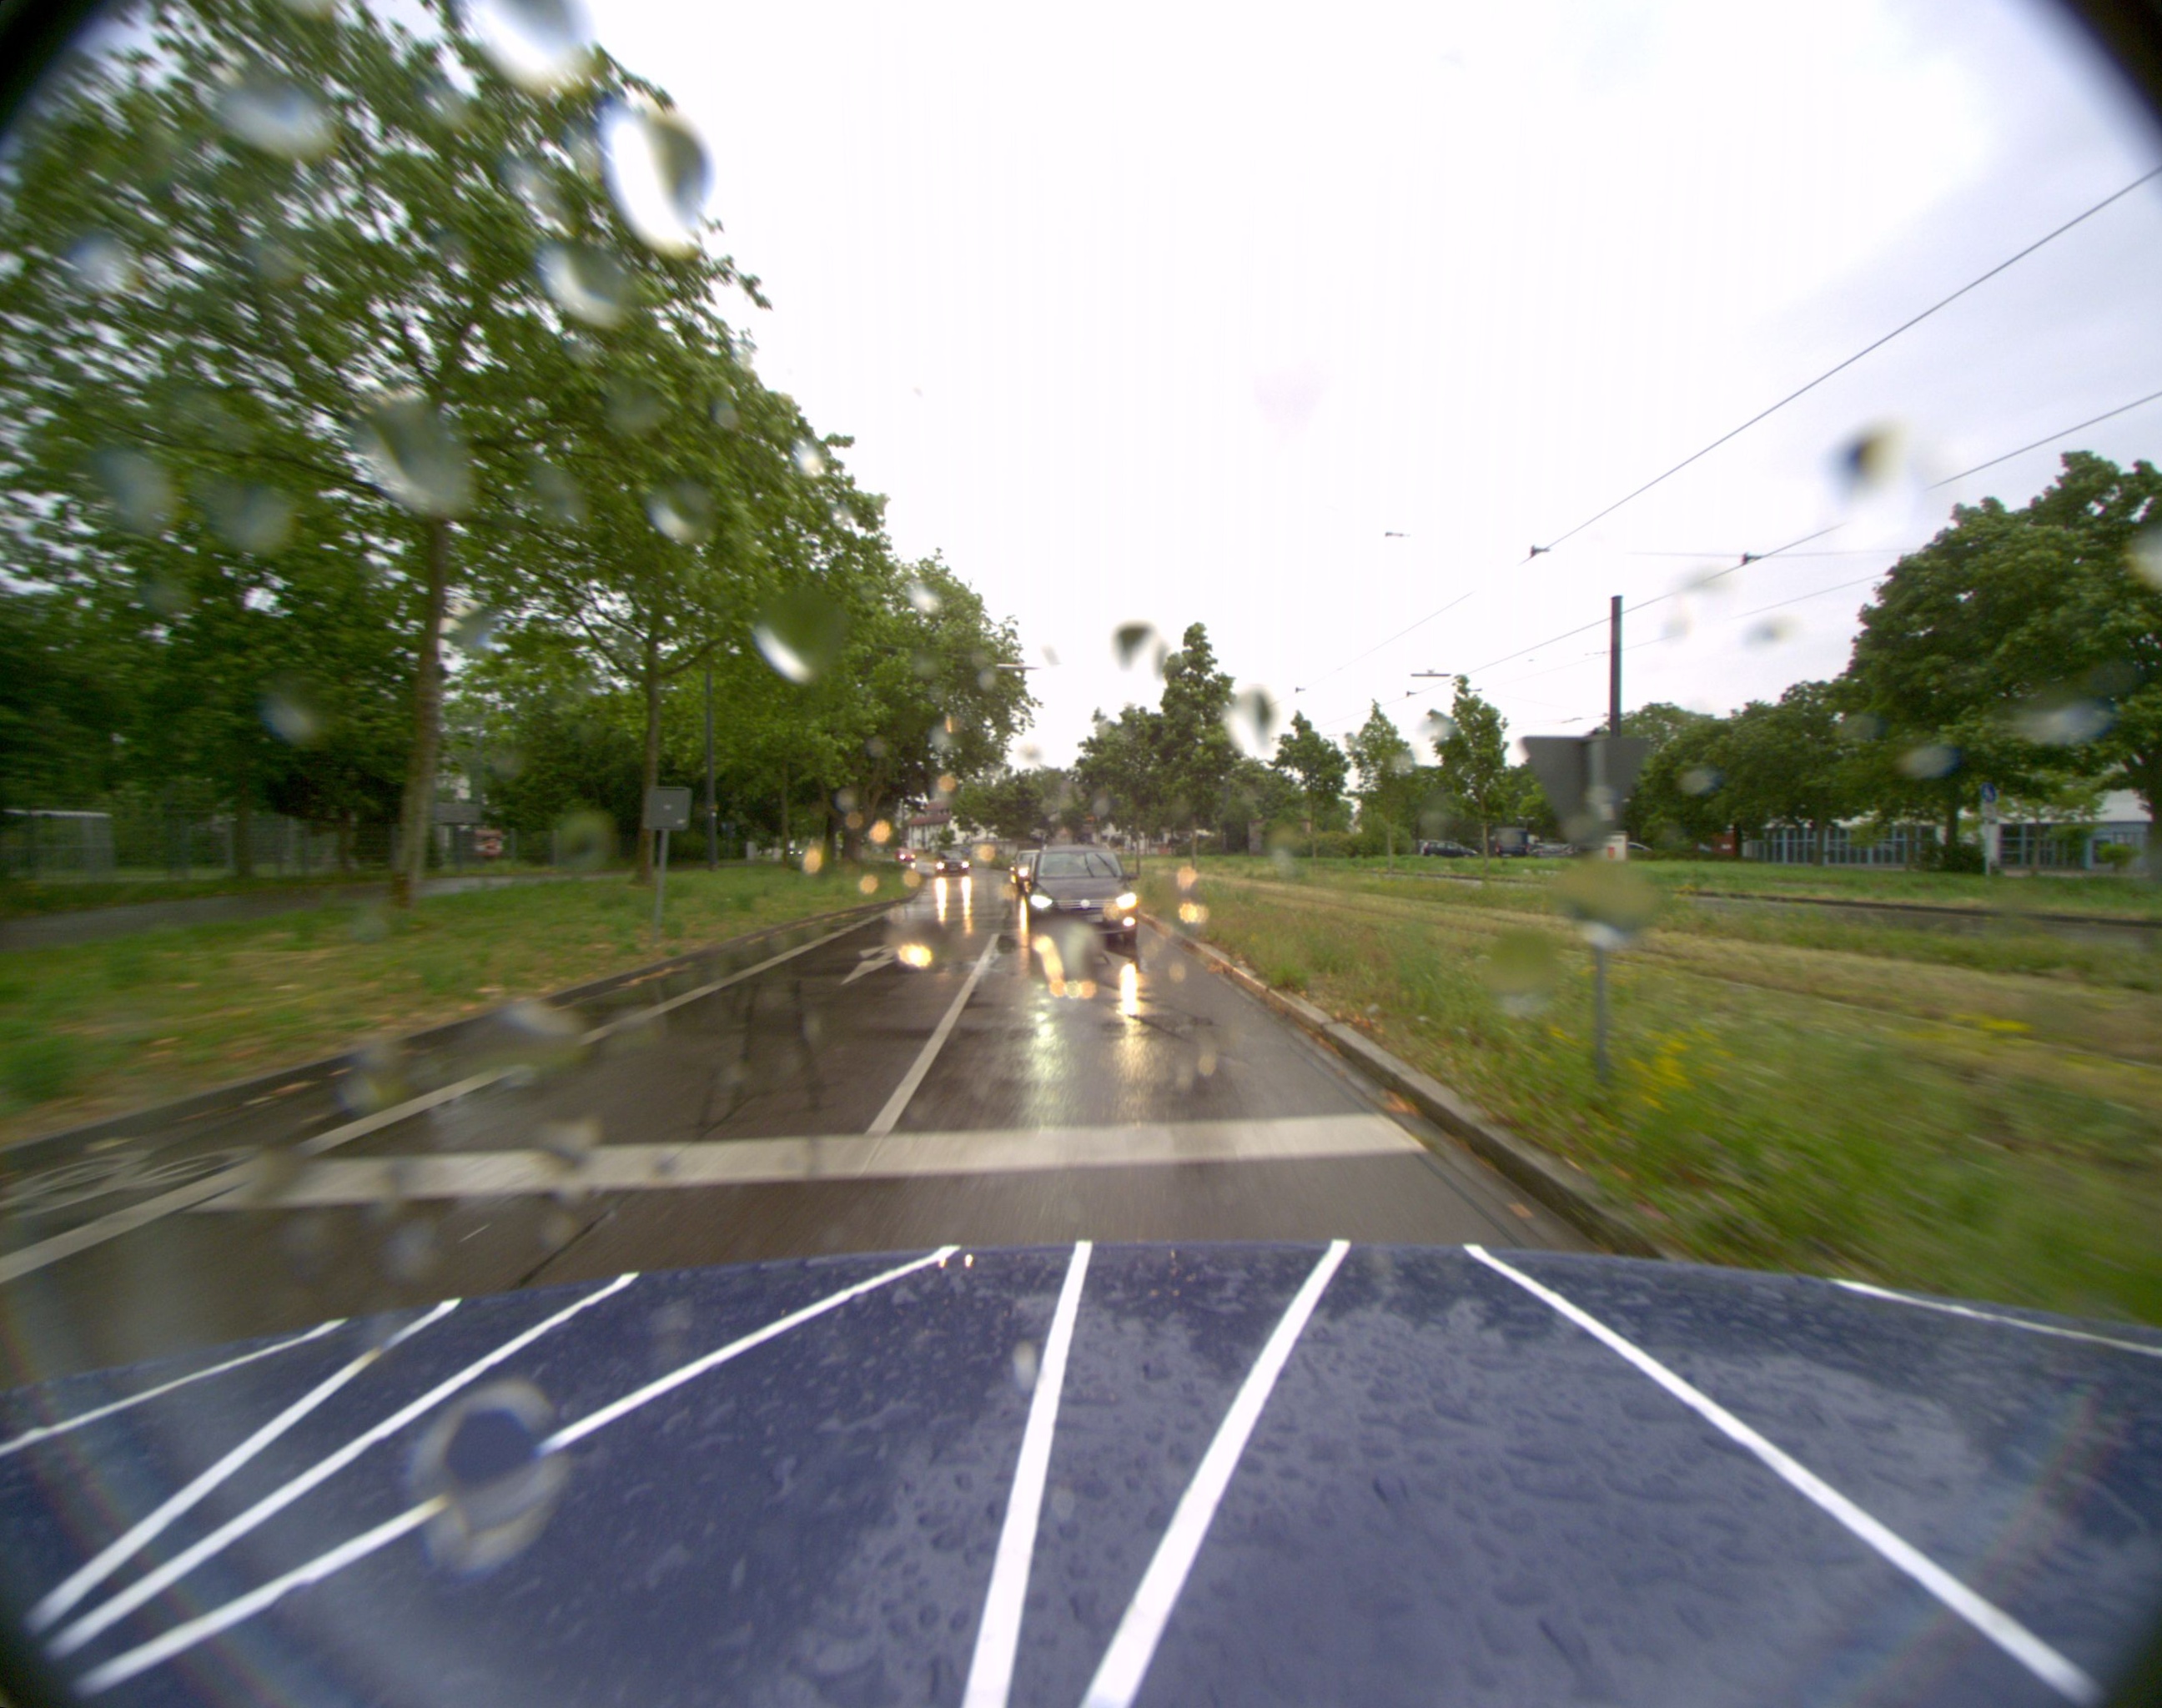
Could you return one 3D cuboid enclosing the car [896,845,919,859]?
[{"bbox_3d":[-18.755,-0.243,81.992,1.791,1.373,3.857,-2,1,-23],"label":"car"}]

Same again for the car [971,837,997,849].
[{"bbox_3d":[-16.818,-1.891,131.797,4.007,1.791,1.888,-3,1,-38],"label":"car"}]

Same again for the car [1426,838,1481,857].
[{"bbox_3d":[31.959,-0.546,65.278,4.172,1.474,1.786,-1,1,24],"label":"car"}]

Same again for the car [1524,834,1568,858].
[{"bbox_3d":[32.210,-0.595,52.794,1.752,1.522,4.855,-1,1,21],"label":"car"}]

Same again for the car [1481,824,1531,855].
[{"bbox_3d":[29.610,-1.068,53.101,2.307,2.002,5.124,-1,1,21],"label":"car"}]

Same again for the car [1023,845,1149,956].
[{"bbox_3d":[-0.023,0.678,13.832,1.866,1.592,4.523,-2,1,-3],"label":"car"}]

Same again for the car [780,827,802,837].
[{"bbox_3d":[-58.125,-4.417,152.273,4.005,1.816,1.995,-2,2,-27],"label":"car"}]

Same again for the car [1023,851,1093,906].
[{"bbox_3d":[-0.774,0.655,22.587,1.789,1.355,3.995,-2,1,-5],"label":"car"}]

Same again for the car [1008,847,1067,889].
[{"bbox_3d":[-1.700,0.482,28.735,1.789,1.396,3.790,-2,1,-10],"label":"car"}]

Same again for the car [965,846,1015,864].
[{"bbox_3d":[-7.763,0.067,64.918,4.047,1.412,1.673,-2,1,-13],"label":"car"}]

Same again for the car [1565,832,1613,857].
[{"bbox_3d":[34.641,-0.665,51.941,2.057,1.564,5.023,-1,1,26],"label":"car"}]

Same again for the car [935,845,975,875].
[{"bbox_3d":[-7.540,0.329,45.277,1.875,1.609,3.803,-2,1,-17],"label":"car"}]
